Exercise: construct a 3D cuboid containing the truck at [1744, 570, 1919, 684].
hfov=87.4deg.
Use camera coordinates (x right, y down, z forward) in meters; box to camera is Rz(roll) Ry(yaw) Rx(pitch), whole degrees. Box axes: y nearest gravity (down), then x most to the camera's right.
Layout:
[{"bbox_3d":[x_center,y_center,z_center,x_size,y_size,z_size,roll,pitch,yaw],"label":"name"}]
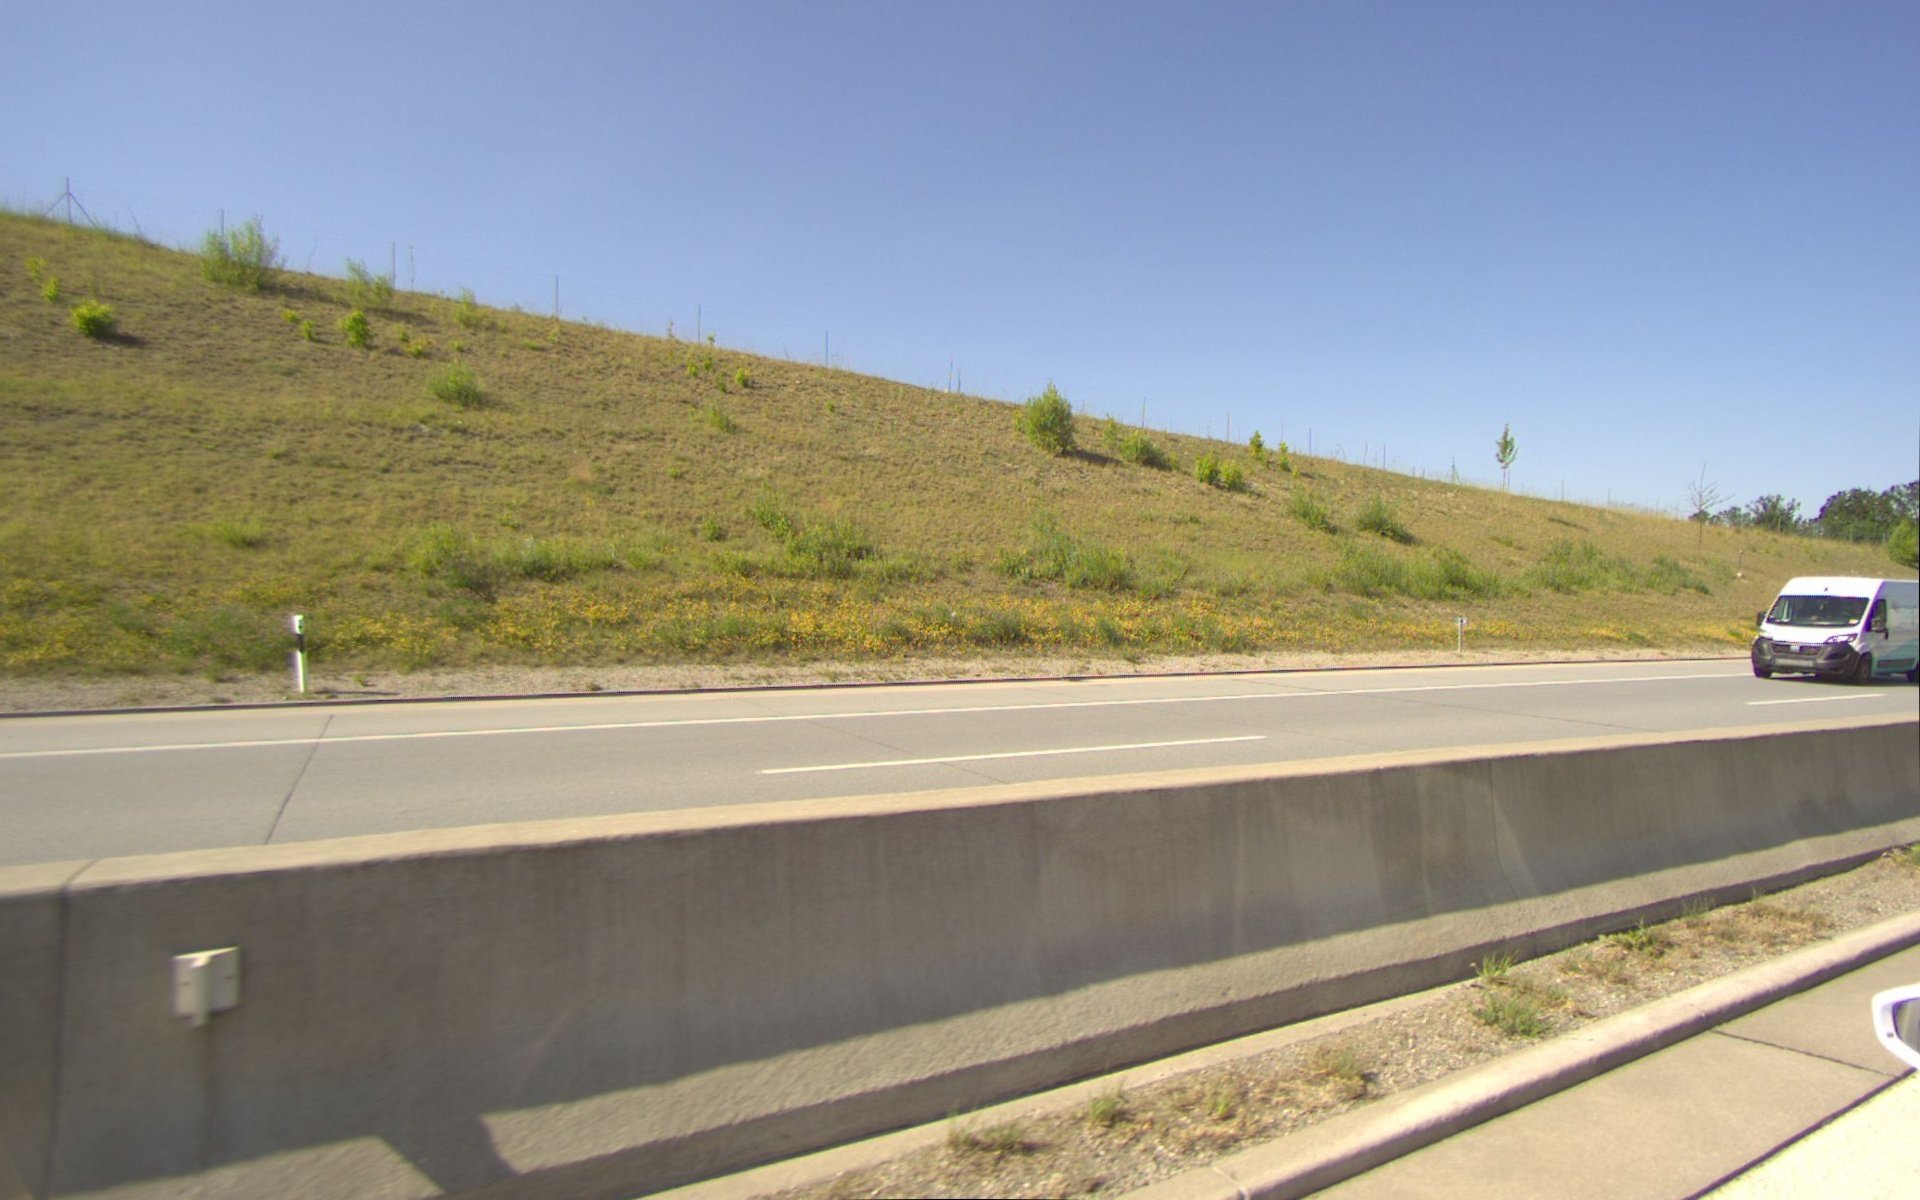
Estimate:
[{"bbox_3d":[21.367,0.625,24.192,5.602,2.481,1.984,1,1,-31],"label":"truck"}]
